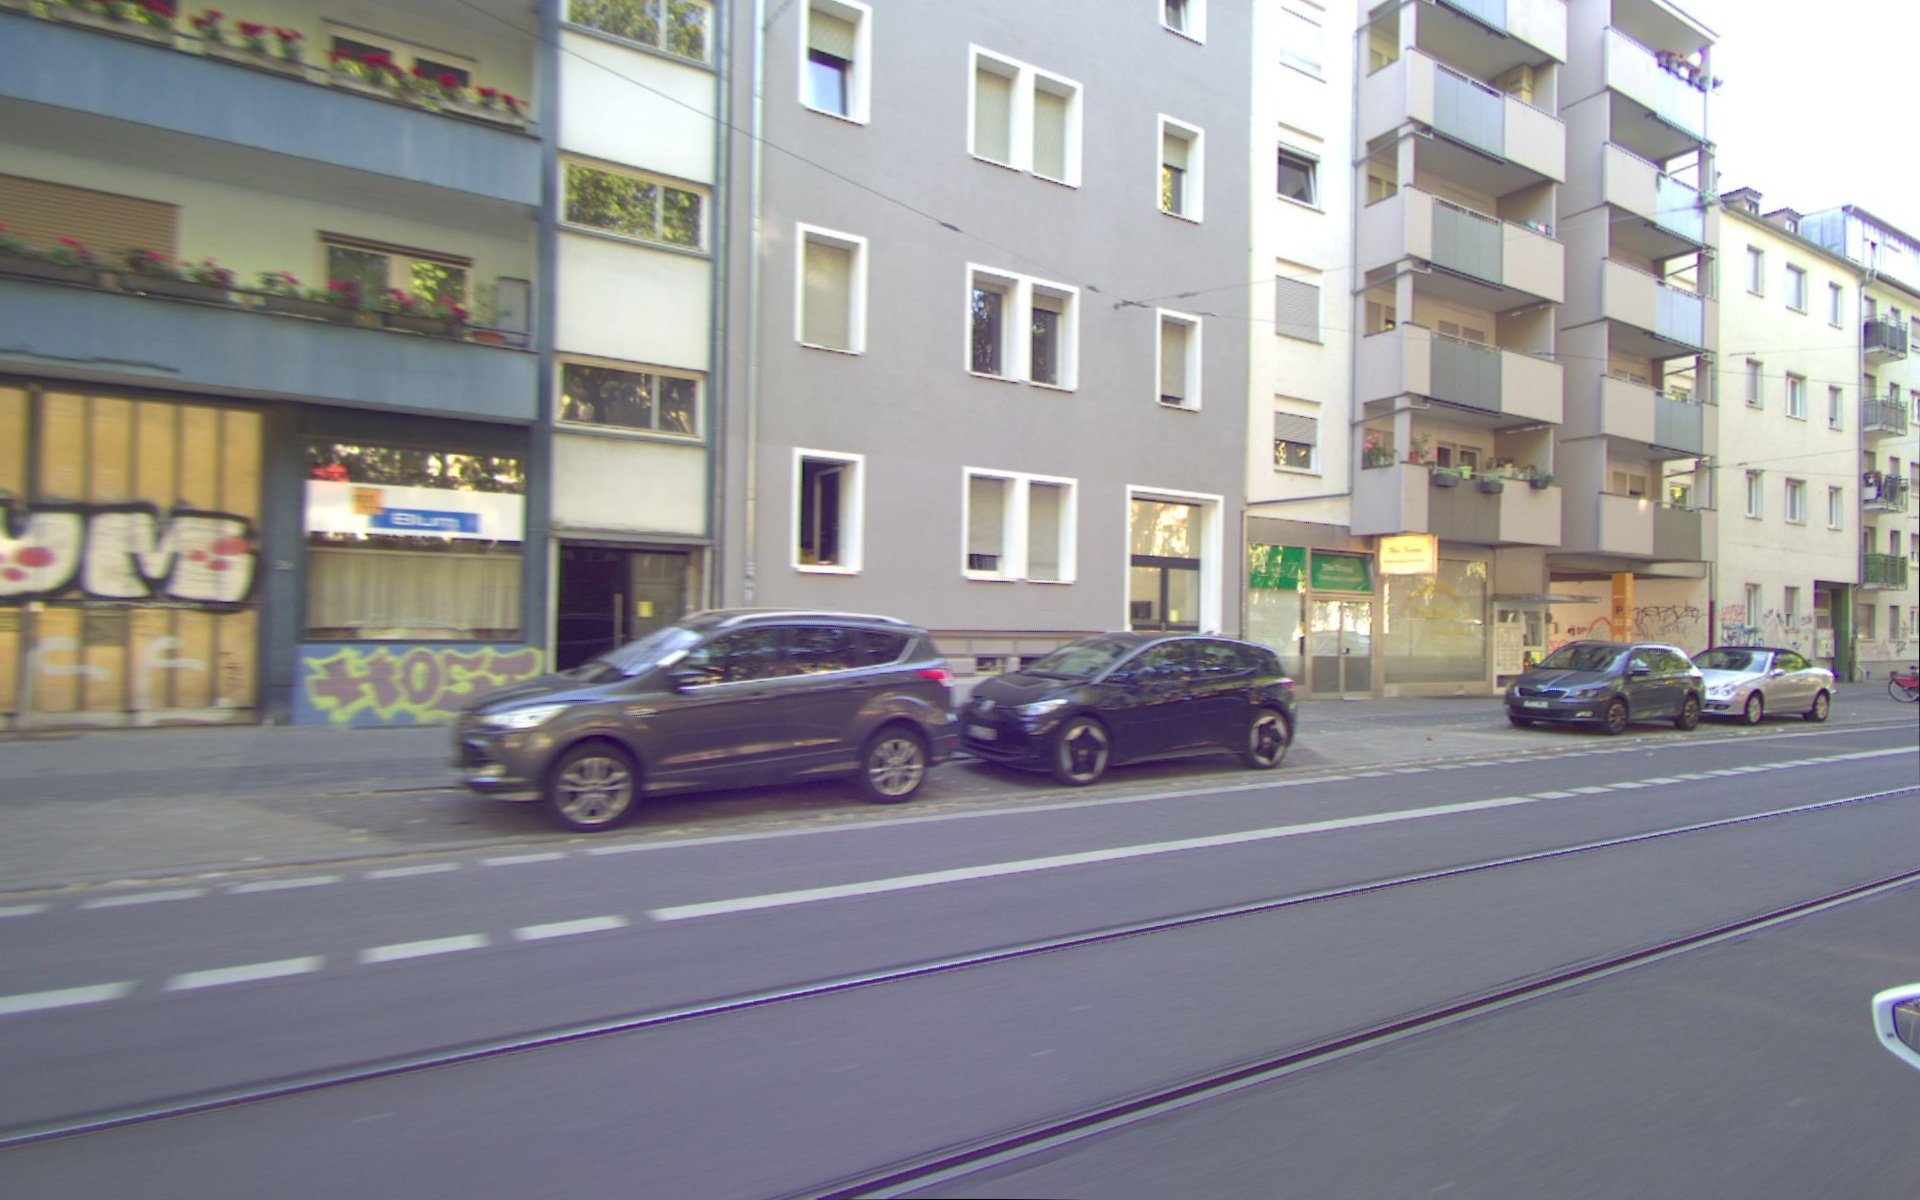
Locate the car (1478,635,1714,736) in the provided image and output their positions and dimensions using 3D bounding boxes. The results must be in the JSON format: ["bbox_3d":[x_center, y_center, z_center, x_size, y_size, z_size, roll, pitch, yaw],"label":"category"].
[{"bbox_3d":[10.942,1.389,17.207,4.193,1.510,1.784,2,-2,-32],"label":"car"}]

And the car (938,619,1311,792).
[{"bbox_3d":[1.964,1.096,11.575,4.155,1.622,1.647,2,0,-32],"label":"car"}]

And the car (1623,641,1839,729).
[{"bbox_3d":[15.090,1.581,19.596,4.672,1.510,1.682,2,-1,-30],"label":"car"}]

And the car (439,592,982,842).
[{"bbox_3d":[-2.146,0.889,9.127,4.441,1.762,1.769,2,0,-33],"label":"car"}]

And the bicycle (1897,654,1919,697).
[{"bbox_3d":[26.045,2.034,26.492,0.433,1.134,1.926,2,0,-23],"label":"bicycle"}]

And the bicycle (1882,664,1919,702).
[{"bbox_3d":[24.945,2.162,25.985,1.601,0.929,0.400,2,0,44],"label":"bicycle"}]

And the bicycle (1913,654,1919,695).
[{"bbox_3d":[26.943,2.064,26.960,0.418,1.134,1.964,2,0,-23],"label":"bicycle"}]

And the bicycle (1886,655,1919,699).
[{"bbox_3d":[25.479,2.051,26.225,0.396,1.134,1.889,2,0,-23],"label":"bicycle"}]

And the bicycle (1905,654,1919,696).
[{"bbox_3d":[26.514,2.050,26.744,0.433,1.134,1.956,2,0,-23],"label":"bicycle"}]
